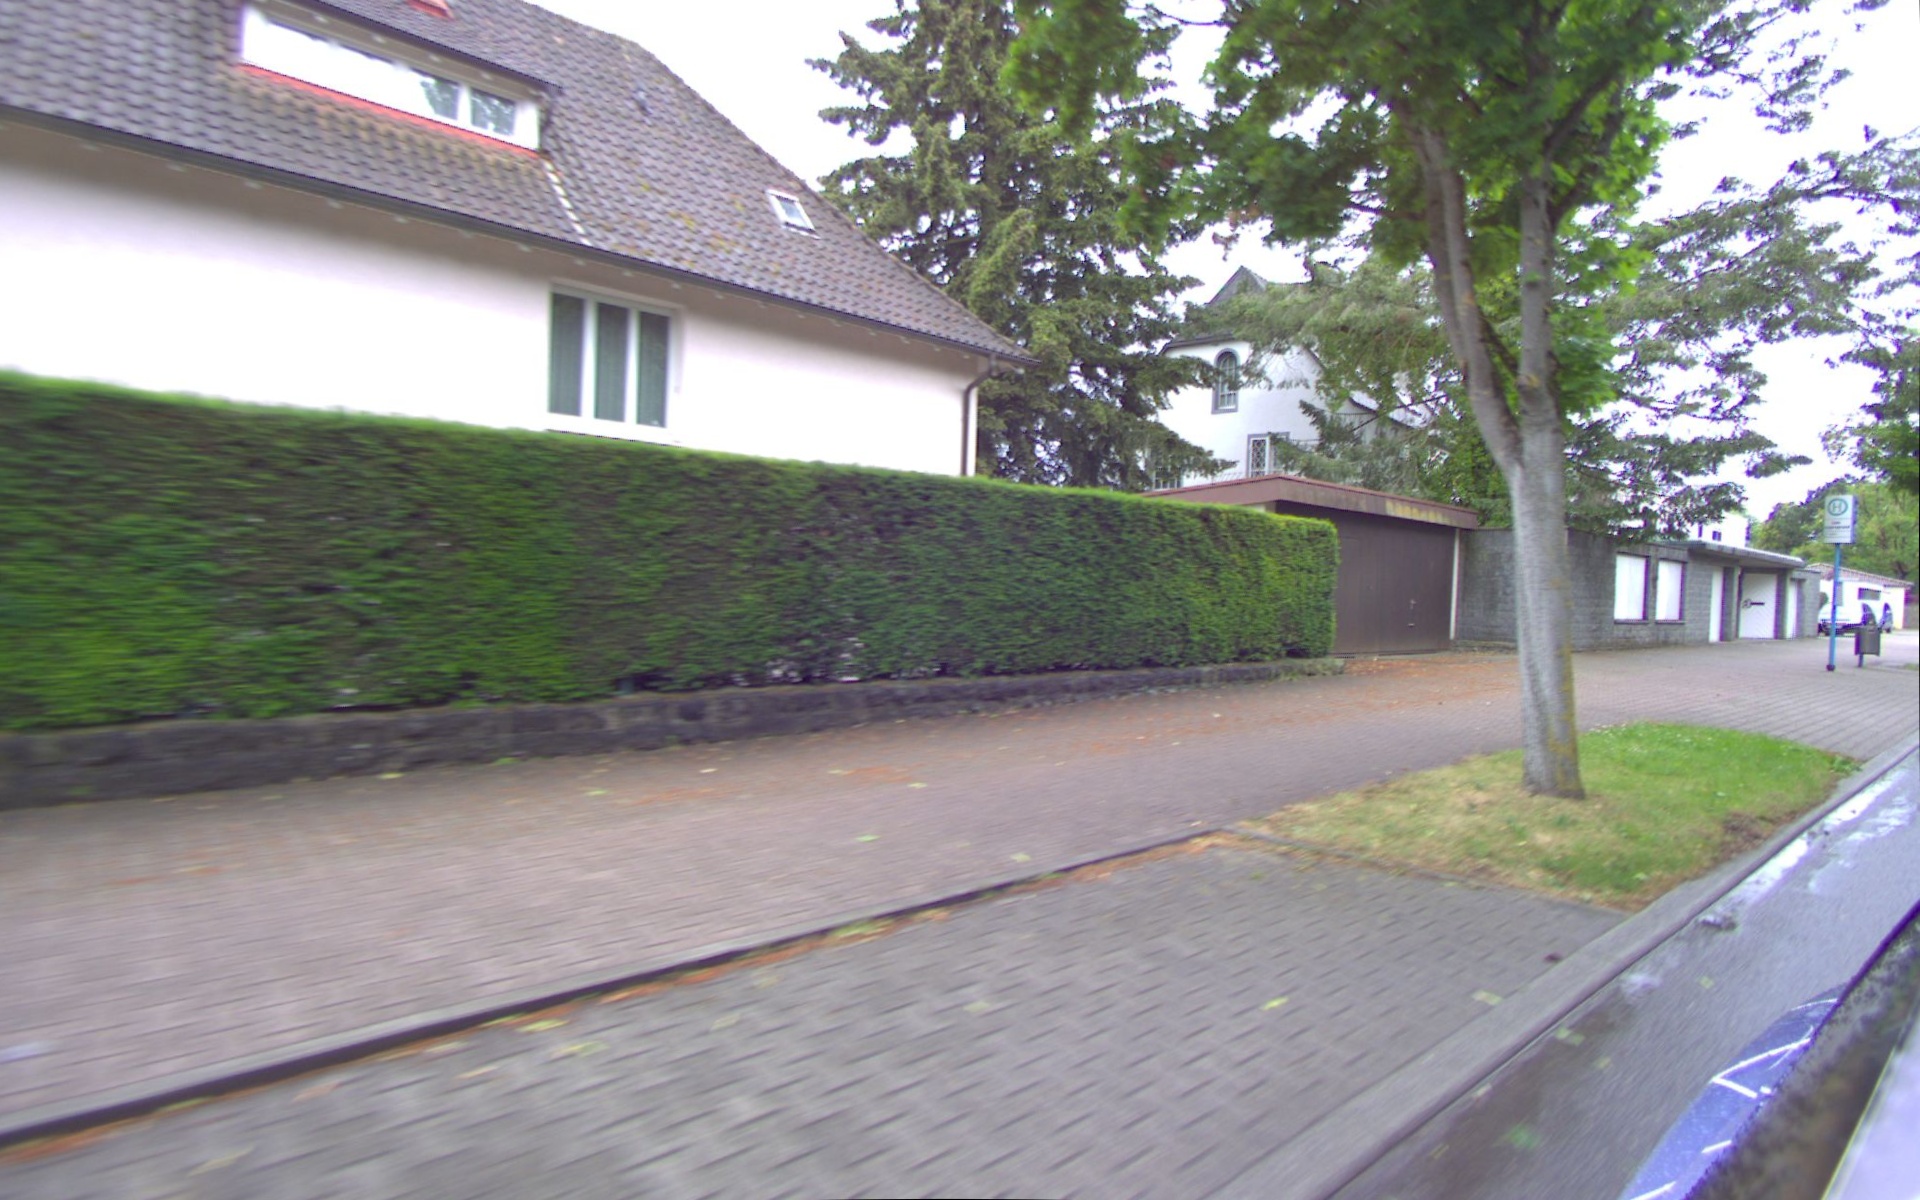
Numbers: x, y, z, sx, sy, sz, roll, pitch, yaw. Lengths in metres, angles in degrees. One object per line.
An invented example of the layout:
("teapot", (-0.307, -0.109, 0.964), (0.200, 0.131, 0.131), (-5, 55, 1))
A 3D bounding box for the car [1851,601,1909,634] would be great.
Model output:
("car", (46.862, 0.854, 51.519), (3.929, 1.581, 1.699), (0, 0, -40))

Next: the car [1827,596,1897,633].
("car", (37.688, 0.601, 42.245), (3.929, 1.440, 1.665), (1, 0, -40))
